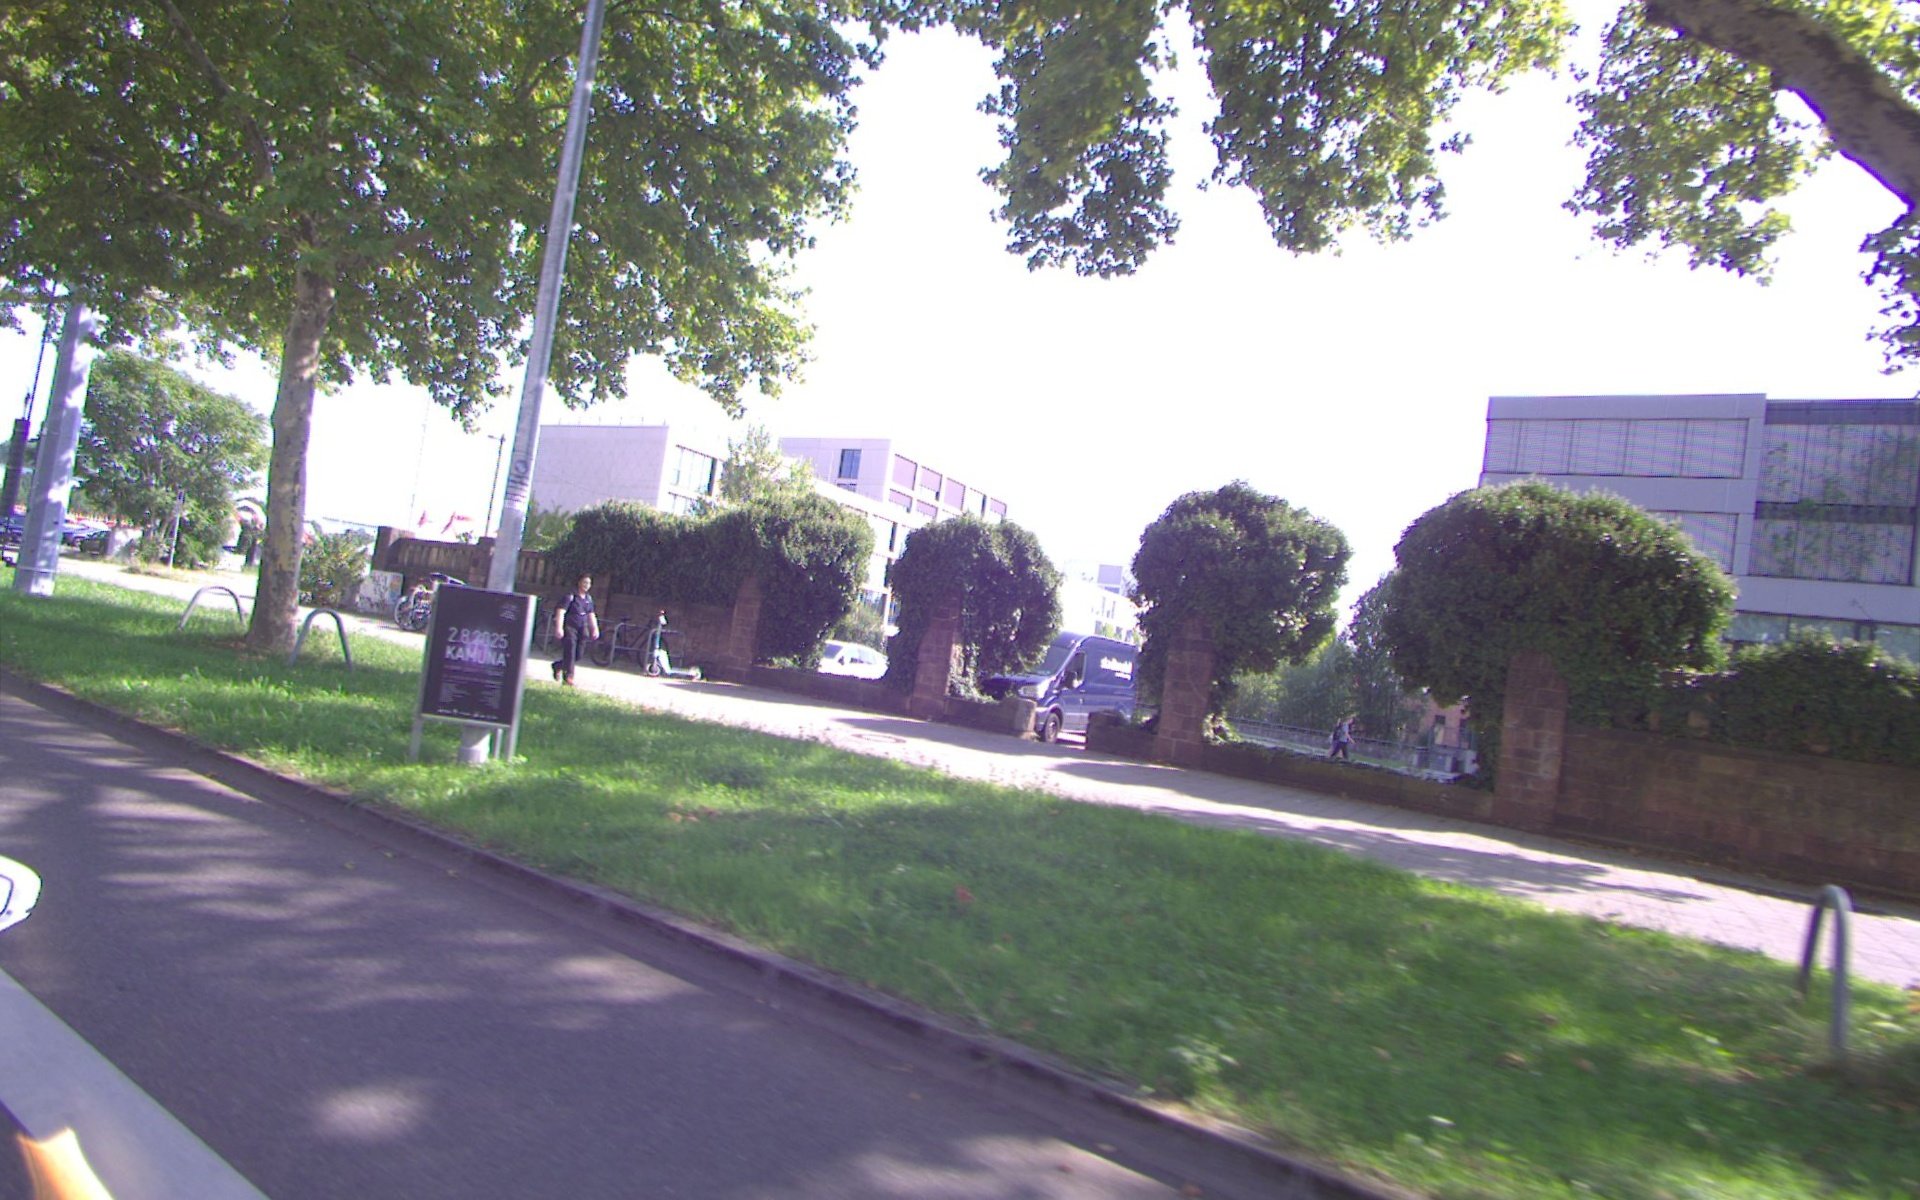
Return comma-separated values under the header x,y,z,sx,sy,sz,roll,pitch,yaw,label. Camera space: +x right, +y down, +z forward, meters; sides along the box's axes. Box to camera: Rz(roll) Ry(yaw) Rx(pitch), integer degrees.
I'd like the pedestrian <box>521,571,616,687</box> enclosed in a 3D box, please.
x,y,z,sx,sy,sz,roll,pitch,yaw,label
-5.691,0.423,14.630,0.774,1.532,0.785,7,-2,31,pedestrian

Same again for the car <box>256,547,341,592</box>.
x,y,z,sx,sy,sz,roll,pitch,yaw,label
-33.483,-1.541,50.911,3.887,1.592,1.711,7,-4,26,car

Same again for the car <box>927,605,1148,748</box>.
x,y,z,sx,sy,sz,roll,pitch,yaw,label
1.855,1.765,21.689,2.214,2.460,5.387,7,-4,33,car

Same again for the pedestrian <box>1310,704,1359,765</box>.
x,y,z,sx,sy,sz,roll,pitch,yaw,label
14.067,5.045,37.767,1.335,2.036,0.941,7,-2,31,pedestrian

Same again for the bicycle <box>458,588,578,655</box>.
x,y,z,sx,sy,sz,roll,pitch,yaw,label
-9.208,0.477,21.081,0.731,1.088,2.180,7,-3,30,bicycle

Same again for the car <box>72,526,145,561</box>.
x,y,z,sx,sy,sz,roll,pitch,yaw,label
-48.120,-3.201,56.844,4.048,1.410,1.819,7,-4,31,car

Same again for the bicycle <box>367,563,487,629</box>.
x,y,z,sx,sy,sz,roll,pitch,yaw,label
-12.634,-0.081,23.940,0.982,1.292,2.248,6,-2,31,bicycle

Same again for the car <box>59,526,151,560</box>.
x,y,z,sx,sy,sz,roll,pitch,yaw,label
-58.971,-3.906,69.426,1.917,1.479,4.399,6,-4,35,car

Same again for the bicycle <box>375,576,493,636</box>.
x,y,z,sx,sy,sz,roll,pitch,yaw,label
-11.767,0.157,22.569,0.731,1.089,2.175,7,-1,35,bicycle

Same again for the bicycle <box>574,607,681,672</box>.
x,y,z,sx,sy,sz,roll,pitch,yaw,label
-6.477,0.795,19.704,0.722,1.017,1.873,7,-3,30,bicycle

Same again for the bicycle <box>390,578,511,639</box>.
x,y,z,sx,sy,sz,roll,pitch,yaw,label
-11.136,0.204,22.065,0.731,1.089,2.175,7,-1,35,bicycle

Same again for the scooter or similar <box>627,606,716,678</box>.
x,y,z,sx,sy,sz,roll,pitch,yaw,label
-5.458,0.809,19.118,0.530,1.205,1.507,6,-2,35,scooter or similar

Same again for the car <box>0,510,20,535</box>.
x,y,z,sx,sy,sz,roll,pitch,yaw,label
-63.989,-5.385,64.957,1.914,1.479,4.359,7,-4,30,car

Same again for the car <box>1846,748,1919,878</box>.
x,y,z,sx,sy,sz,roll,pitch,yaw,label
14.805,3.215,14.570,1.877,1.753,4.535,7,-3,29,car

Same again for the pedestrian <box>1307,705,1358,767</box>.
x,y,z,sx,sy,sz,roll,pitch,yaw,label
13.626,4.964,36.791,1.365,2.036,1.080,7,-2,31,pedestrian

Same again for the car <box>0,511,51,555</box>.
x,y,z,sx,sy,sz,roll,pitch,yaw,label
-41.547,-3.025,43.950,3.734,1.593,1.611,7,-2,32,car

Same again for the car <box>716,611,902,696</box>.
x,y,z,sx,sy,sz,roll,pitch,yaw,label
-3.511,1.382,24.546,2.147,1.494,4.916,7,-3,22,car
